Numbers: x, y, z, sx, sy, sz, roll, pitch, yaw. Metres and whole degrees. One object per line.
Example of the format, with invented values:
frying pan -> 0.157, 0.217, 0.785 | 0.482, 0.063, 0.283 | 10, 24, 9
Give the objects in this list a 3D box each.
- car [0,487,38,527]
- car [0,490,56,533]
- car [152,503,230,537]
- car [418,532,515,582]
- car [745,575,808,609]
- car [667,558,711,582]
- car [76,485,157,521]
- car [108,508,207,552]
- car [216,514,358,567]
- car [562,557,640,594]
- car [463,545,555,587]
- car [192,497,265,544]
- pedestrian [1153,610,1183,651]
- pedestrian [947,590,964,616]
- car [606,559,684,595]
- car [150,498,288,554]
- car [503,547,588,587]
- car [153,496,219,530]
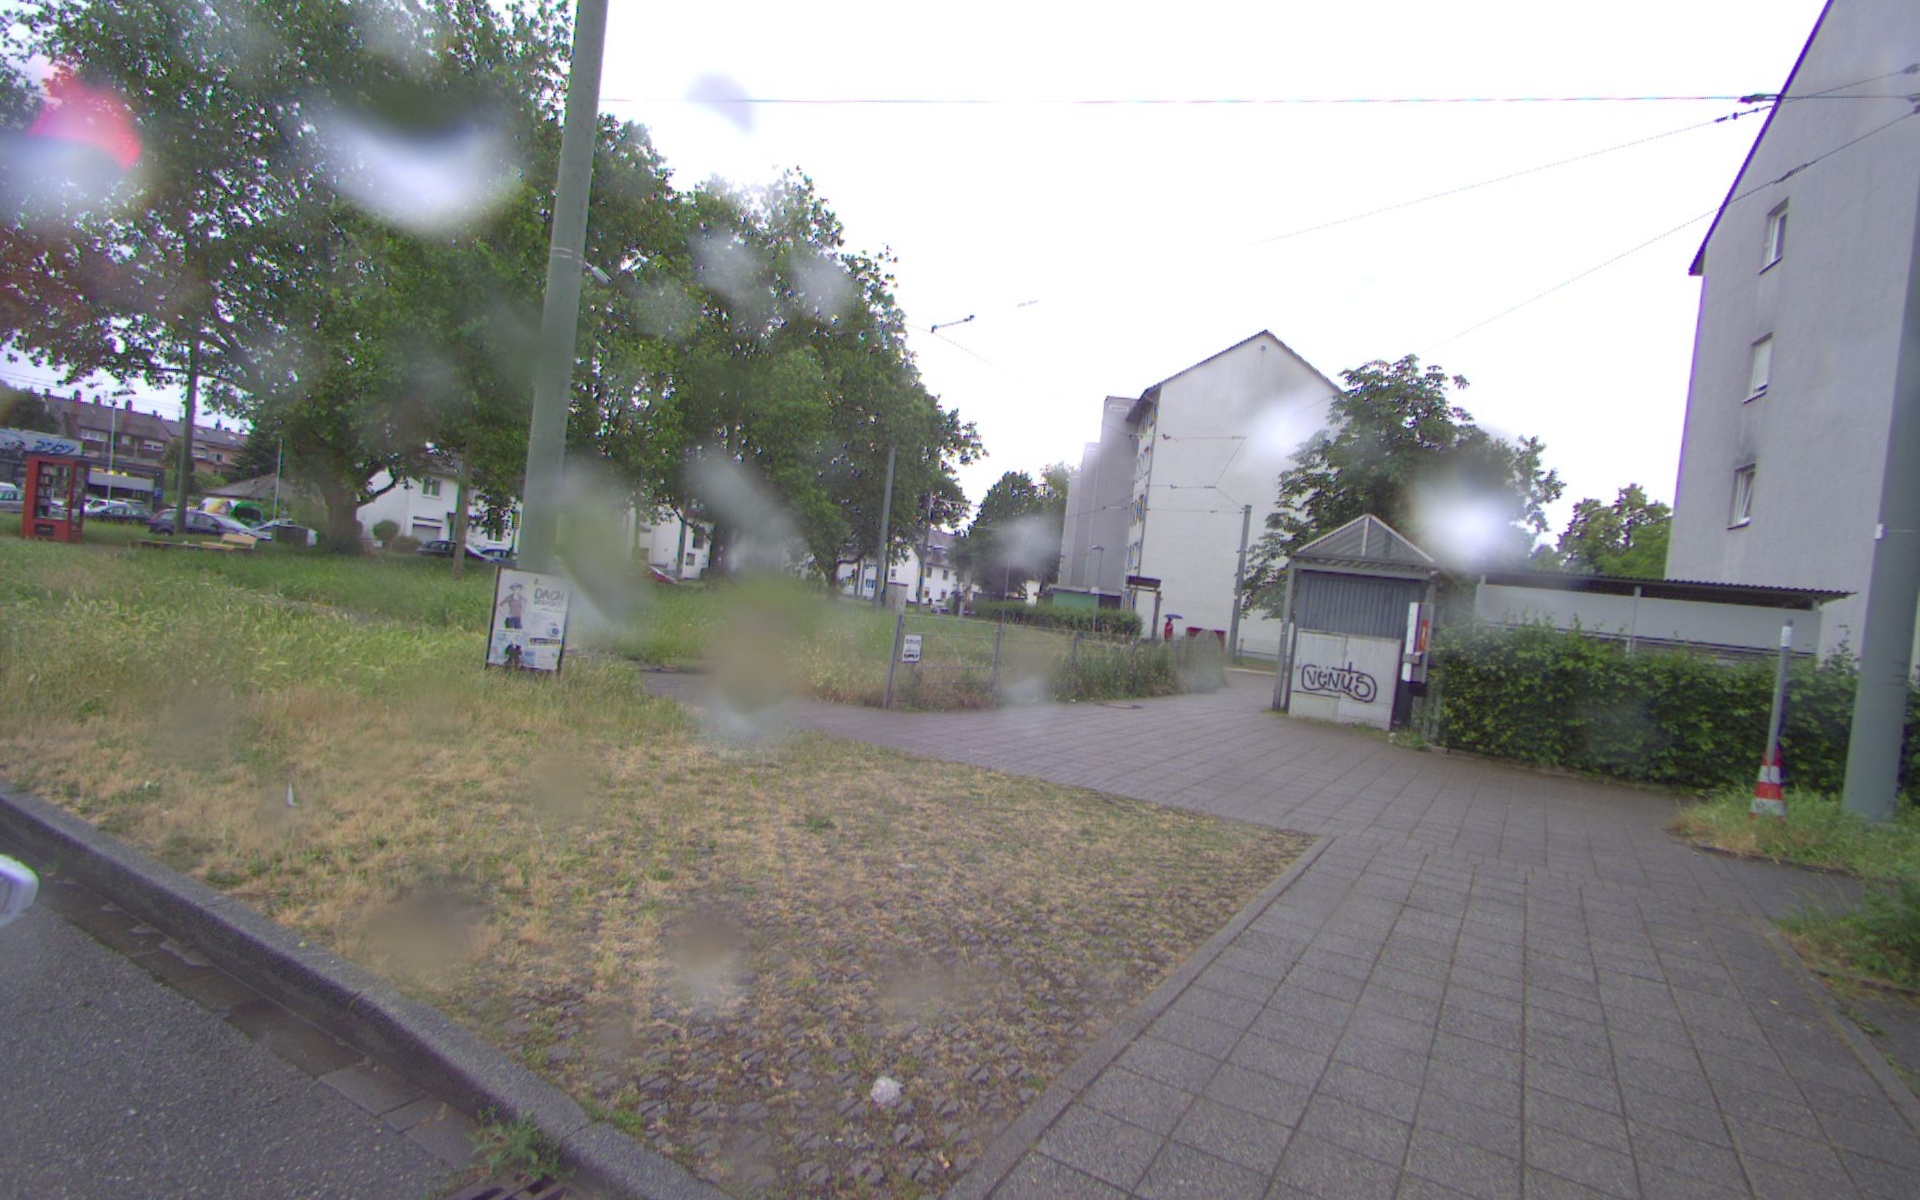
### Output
car -> -54.727, -5.456, 56.353 | 1.966, 1.973, 3.997 | 6, -2, 30
car -> -46.586, -4.431, 48.727 | 1.859, 1.720, 3.692 | 6, -2, 32
car -> -55.469, -5.764, 72.605 | 1.816, 1.658, 3.995 | 6, -2, 32
car -> -23.734, -2.040, 48.530 | 3.710, 1.819, 1.806 | 8, -2, -15
car -> -12.746, -0.545, 70.102 | 3.843, 1.785, 1.812 | 7, -2, 0
car -> -25.716, -2.798, 95.524 | 1.859, 1.679, 3.692 | 6, -2, 32
car -> -61.691, -7.080, 73.620 | 1.968, 1.811, 3.992 | 6, -2, 34
car -> -43.431, -3.782, 54.510 | 1.859, 1.720, 3.692 | 6, -2, 32
car -> -25.165, -2.206, 37.710 | 1.819, 1.300, 3.987 | 6, -3, 39
car -> -20.115, -1.358, 56.533 | 3.855, 1.512, 1.806 | 8, -2, -15
car -> -22.811, -1.704, 51.063 | 3.855, 1.512, 1.806 | 8, -2, -15
car -> -46.748, -5.056, 64.268 | 4.280, 2.471, 1.998 | 6, -2, 31
pedestrian -> 9.254, 1.370, 44.667 | 0.806, 1.674, 0.889 | 6, -1, 41
pedestrian -> -0.337, 0.225, 75.314 | 1.022, 1.811, 0.818 | 7, -1, -3
car -> -18.632, -1.331, 59.589 | 3.842, 1.513, 1.812 | 7, -2, 3
car -> -29.196, -2.895, 39.783 | 3.855, 1.512, 1.806 | 8, -2, -15
car -> -21.982, -1.726, 53.499 | 3.855, 1.512, 1.806 | 8, -2, -15
car -> -62.195, -6.981, 80.829 | 3.924, 2.037, 2.003 | 7, -2, 14
